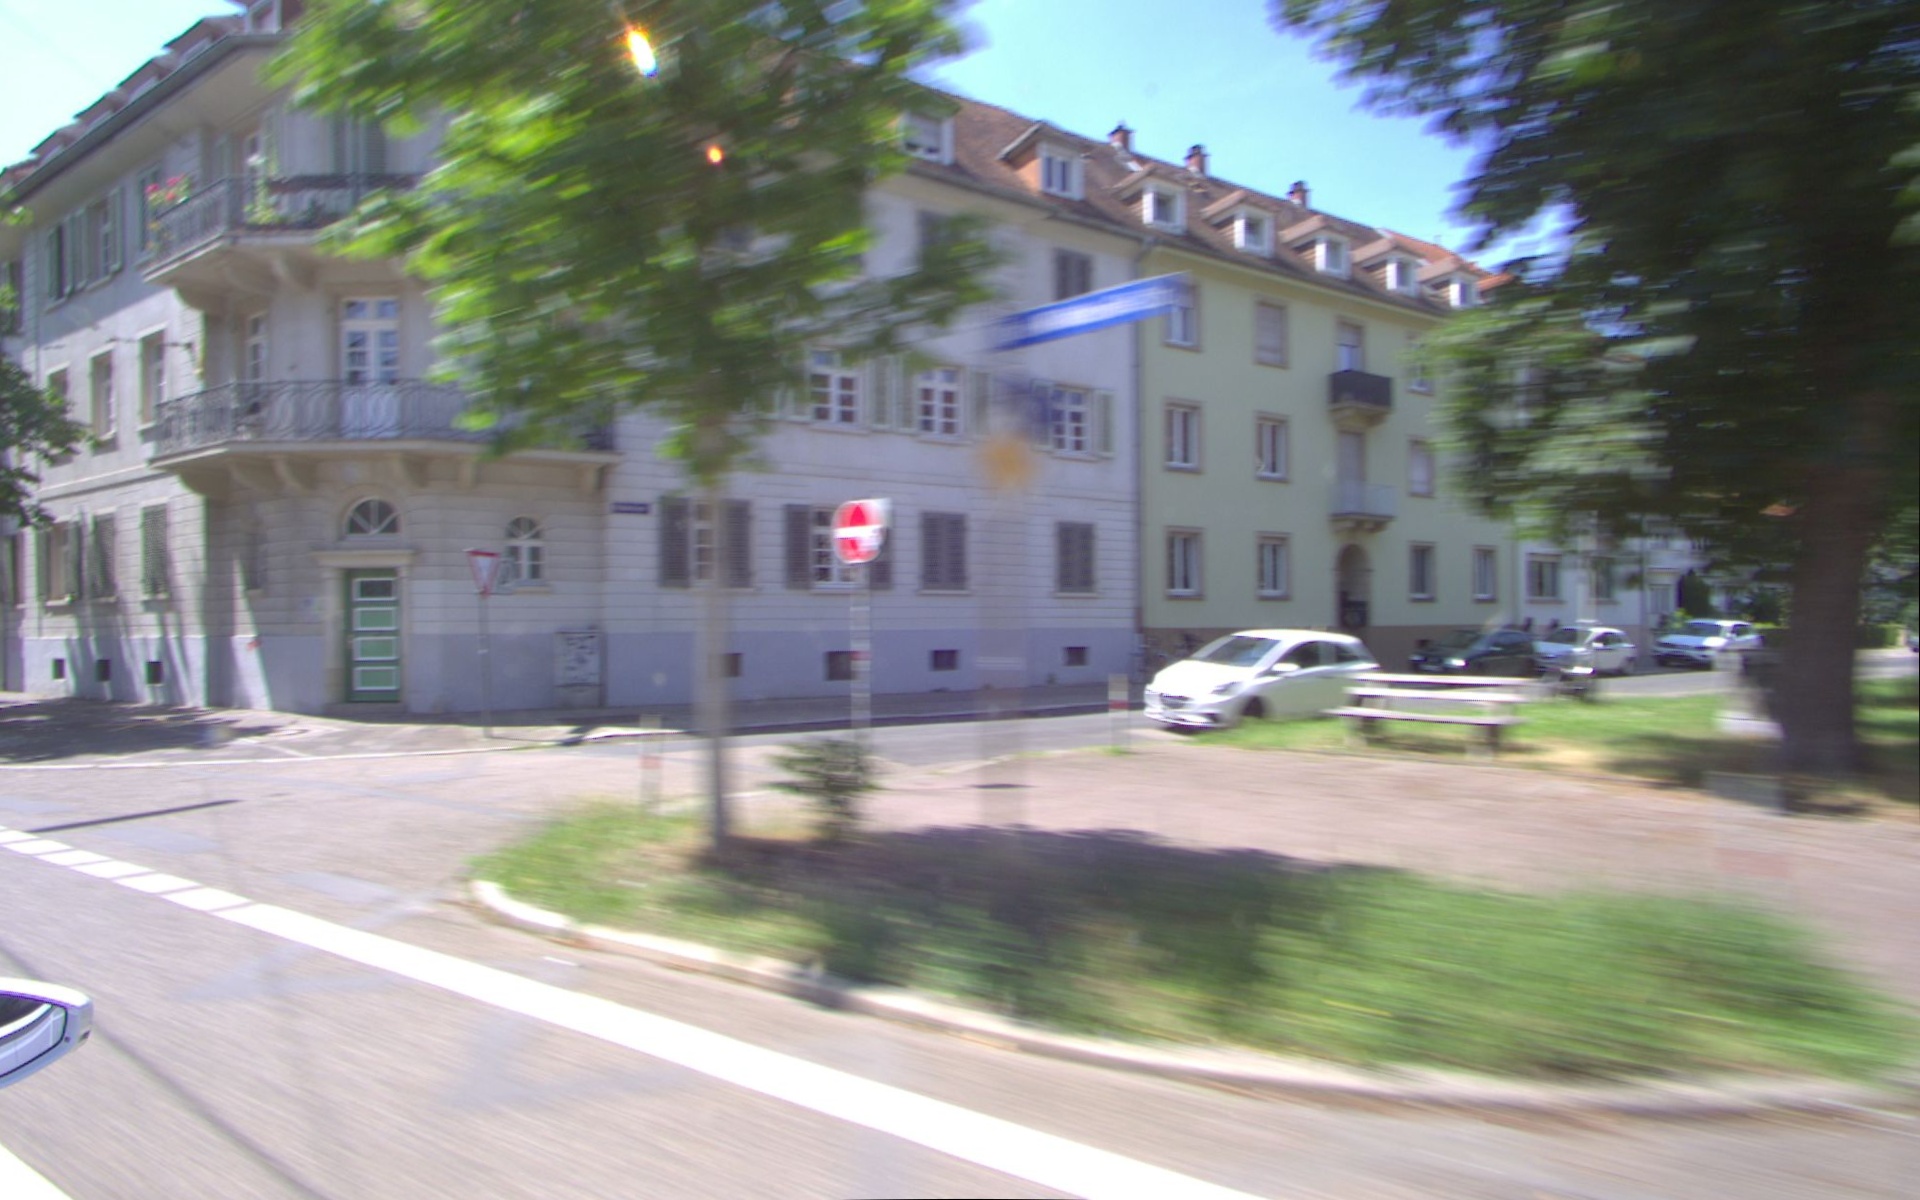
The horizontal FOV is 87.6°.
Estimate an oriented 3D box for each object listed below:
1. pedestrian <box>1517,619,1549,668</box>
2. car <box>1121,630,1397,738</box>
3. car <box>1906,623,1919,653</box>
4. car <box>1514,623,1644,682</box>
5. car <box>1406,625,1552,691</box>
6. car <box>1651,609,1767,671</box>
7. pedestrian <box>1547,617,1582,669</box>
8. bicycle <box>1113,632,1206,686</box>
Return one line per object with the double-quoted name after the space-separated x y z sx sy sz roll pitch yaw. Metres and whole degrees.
19.239 1.446 33.625 0.791 1.638 0.664 0 -1 -36 "pedestrian"
4.635 1.207 15.486 3.940 1.438 1.845 0 -2 -28 "car"
47.316 1.790 48.157 3.846 1.416 1.777 1 -2 -33 "car"
18.528 1.535 29.925 3.942 1.641 1.578 0 -3 -30 "car"
14.007 1.532 26.994 3.942 1.622 1.578 0 -3 -30 "car"
25.809 1.339 34.484 4.268 2.039 1.631 0 -1 -30 "car"
19.916 1.405 32.985 0.791 1.685 0.665 0 -2 -36 "pedestrian"
5.002 1.436 24.988 2.693 1.279 0.666 1 -1 -37 "bicycle"
